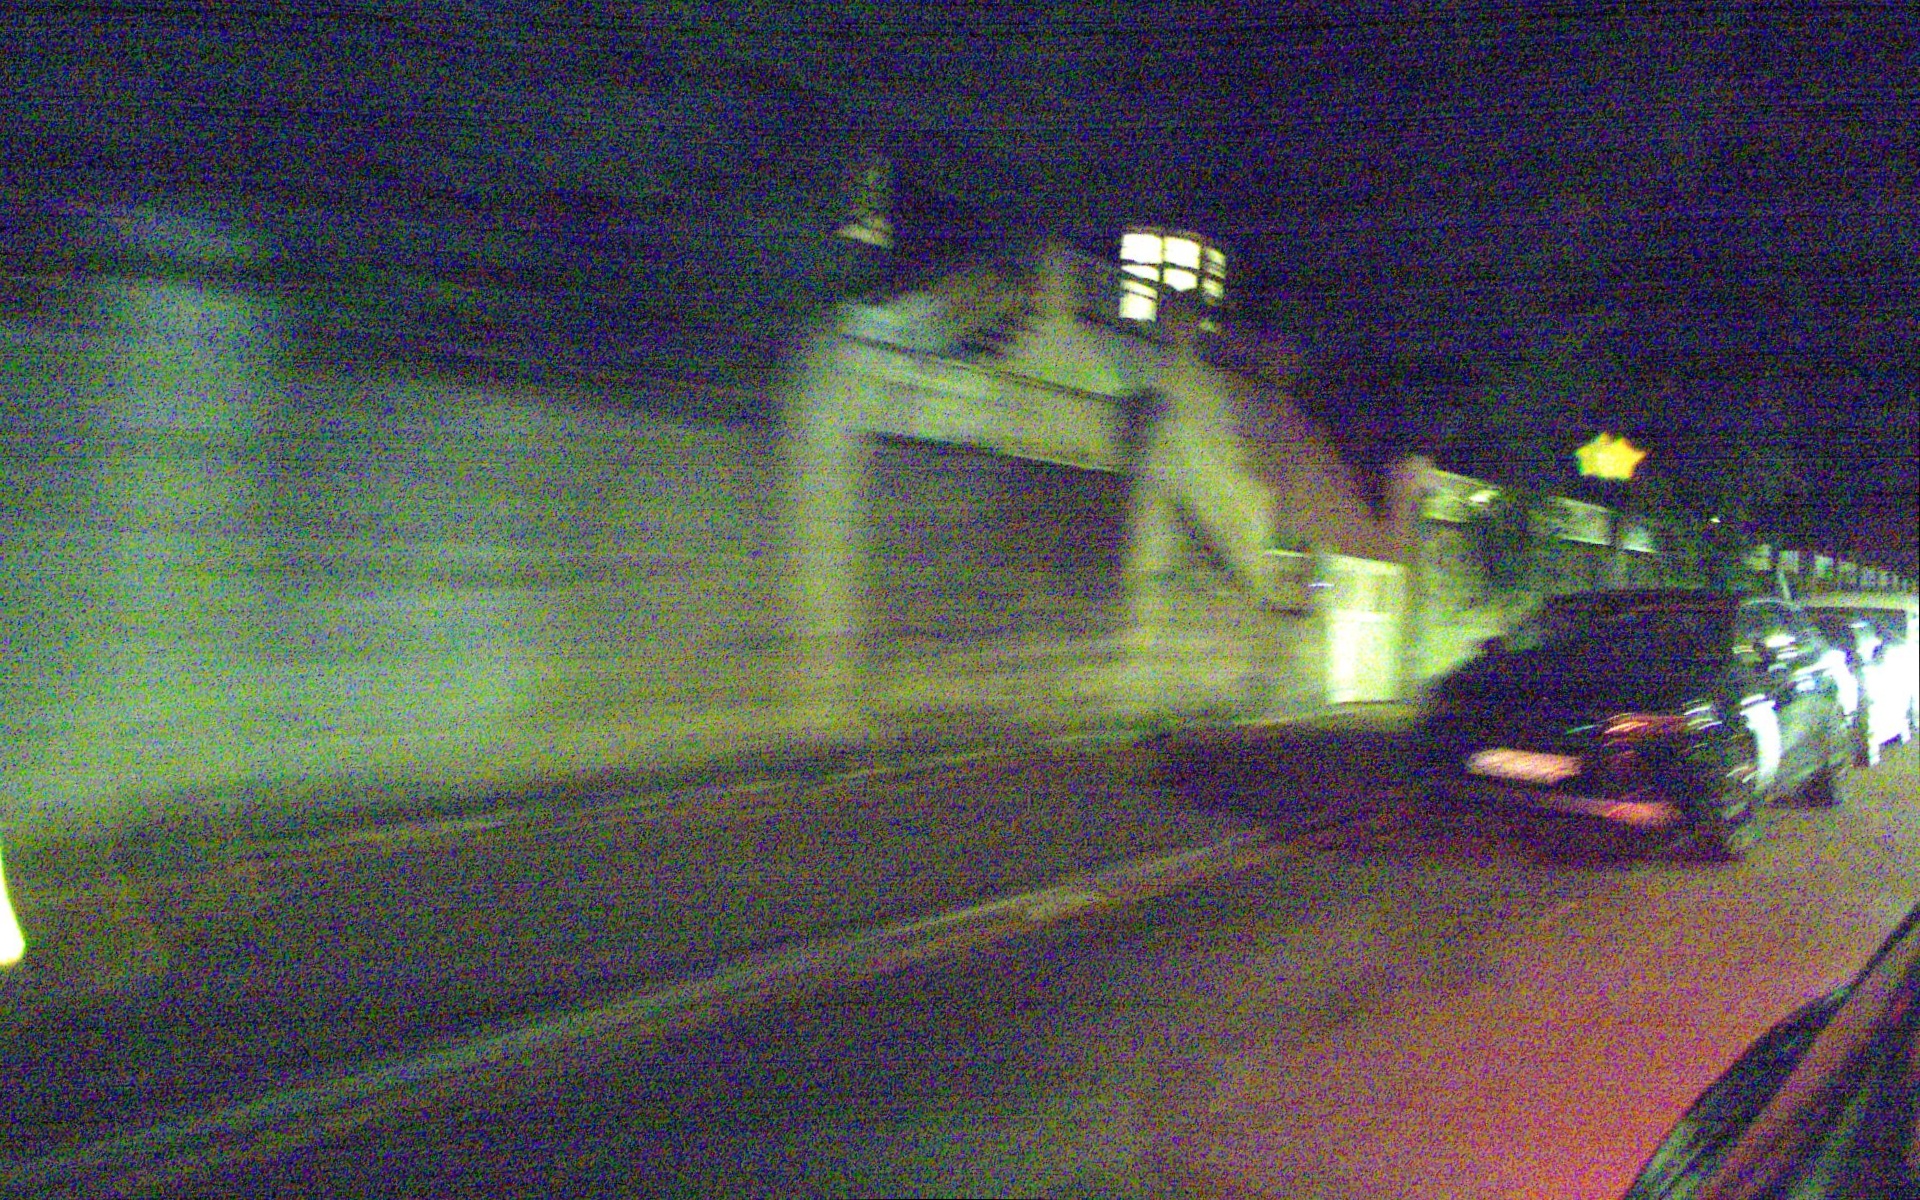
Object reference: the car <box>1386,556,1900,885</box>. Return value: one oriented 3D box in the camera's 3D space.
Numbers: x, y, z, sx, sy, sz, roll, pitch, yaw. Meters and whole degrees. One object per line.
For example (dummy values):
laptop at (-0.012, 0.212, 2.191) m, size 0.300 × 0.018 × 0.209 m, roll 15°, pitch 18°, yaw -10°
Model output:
car at (5.129, 0.611, 7.334) m, size 4.535 × 1.685 × 1.836 m, roll 0°, pitch 0°, yaw -39°

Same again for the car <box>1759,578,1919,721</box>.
car at (13.236, 0.664, 14.664) m, size 4.673 × 1.784 × 1.722 m, roll 2°, pitch -1°, yaw -40°

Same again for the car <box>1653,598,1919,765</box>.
car at (9.223, 0.766, 11.047) m, size 4.182 × 1.490 × 1.746 m, roll 1°, pitch -2°, yaw -41°
